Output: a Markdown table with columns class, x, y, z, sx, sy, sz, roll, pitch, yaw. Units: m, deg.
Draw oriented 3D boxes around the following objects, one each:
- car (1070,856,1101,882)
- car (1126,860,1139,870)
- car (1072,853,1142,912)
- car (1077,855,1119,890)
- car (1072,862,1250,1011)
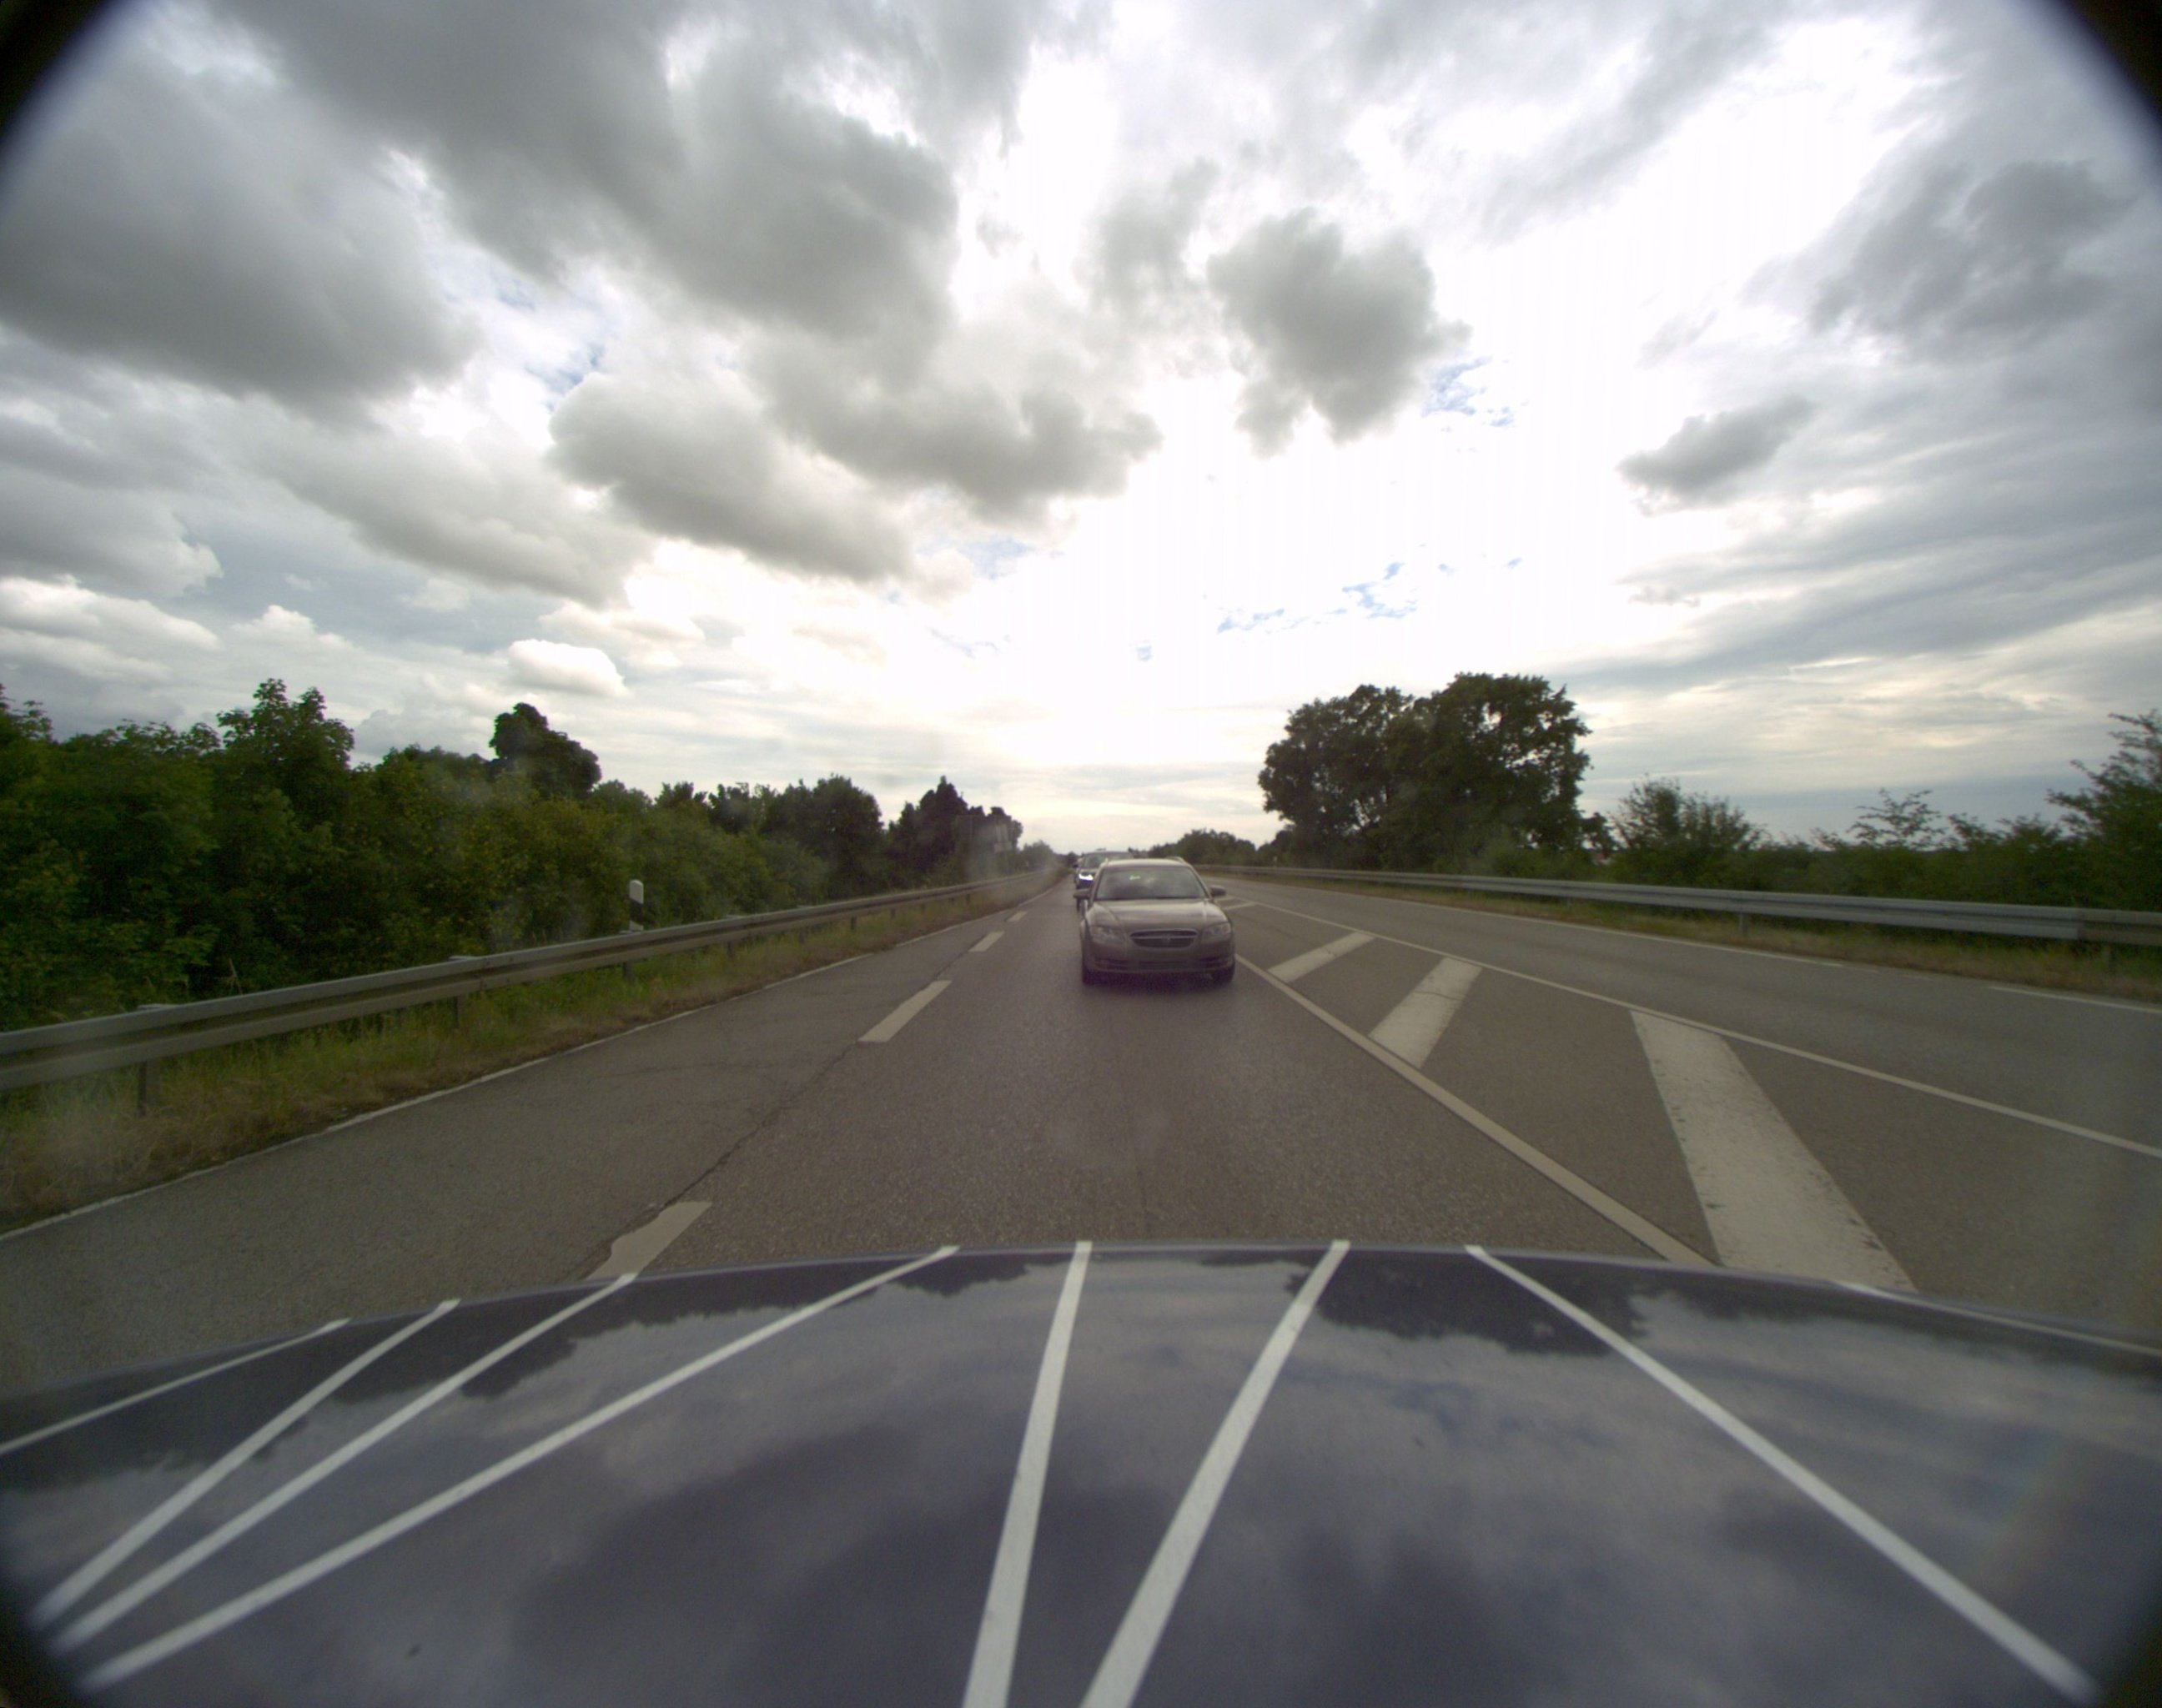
| class | x | y | z | sx | sy | sz | roll | pitch | yaw |
| --- | --- | --- | --- | --- | --- | --- | --- | --- | --- |
| car | 0.298 | 0.908 | 48.481 | 1.834 | 1.537 | 4.035 | -1 | 0 | 1 |
| car | 7.815 | 1.668 | 115.290 | 1.675 | 1.421 | 4.257 | -1 | 0 | 0 |
| car | 0.725 | 0.764 | 22.237 | 1.834 | 1.537 | 4.035 | -1 | 0 | 1 |
| car | 0.774 | 0.821 | 35.737 | 1.834 | 1.537 | 4.035 | -1 | 0 | 1 |
| car | 0.846 | 0.869 | 9.802 | 1.784 | 1.442 | 4.035 | -1 | 0 | 1 |
